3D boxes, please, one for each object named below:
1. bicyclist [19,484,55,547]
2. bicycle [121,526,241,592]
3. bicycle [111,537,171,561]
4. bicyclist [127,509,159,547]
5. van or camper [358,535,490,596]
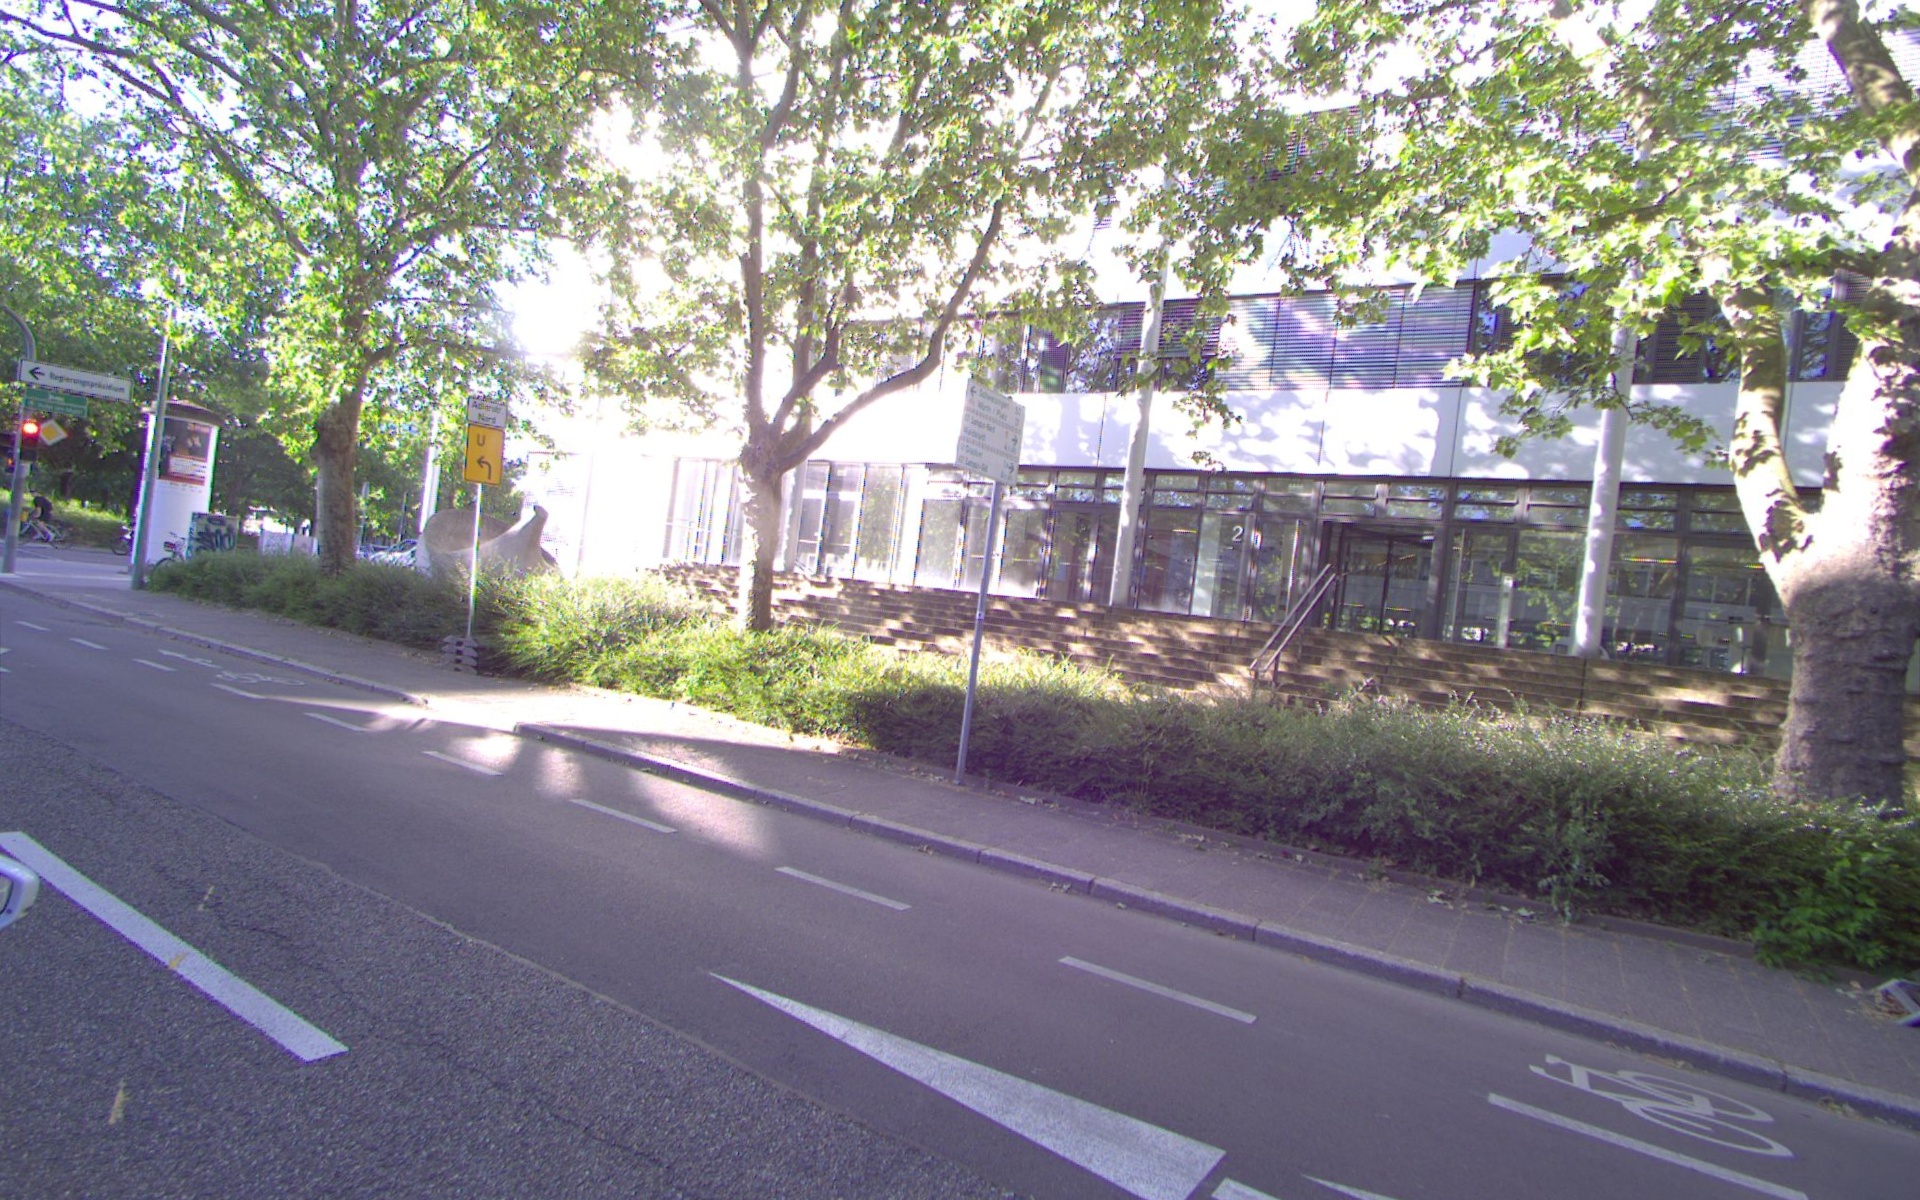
[{"bbox_3d":[-31.546,-2.872,34.381,0.433,2.038,0.653,7,0,32],"label":"bicyclist"},{"bbox_3d":[-16.096,-0.834,20.824,0.502,1.110,1.806,7,-1,34],"label":"bicycle"},{"bbox_3d":[-30.014,-1.876,36.876,0.488,0.642,1.588,7,-1,35],"label":"bicycle"},{"bbox_3d":[-29.930,-2.642,36.853,0.450,1.275,0.704,7,0,36],"label":"bicyclist"},{"bbox_3d":[-23.277,-1.465,43.886,1.966,1.964,4.590,7,-1,29],"label":"van or camper"}]
